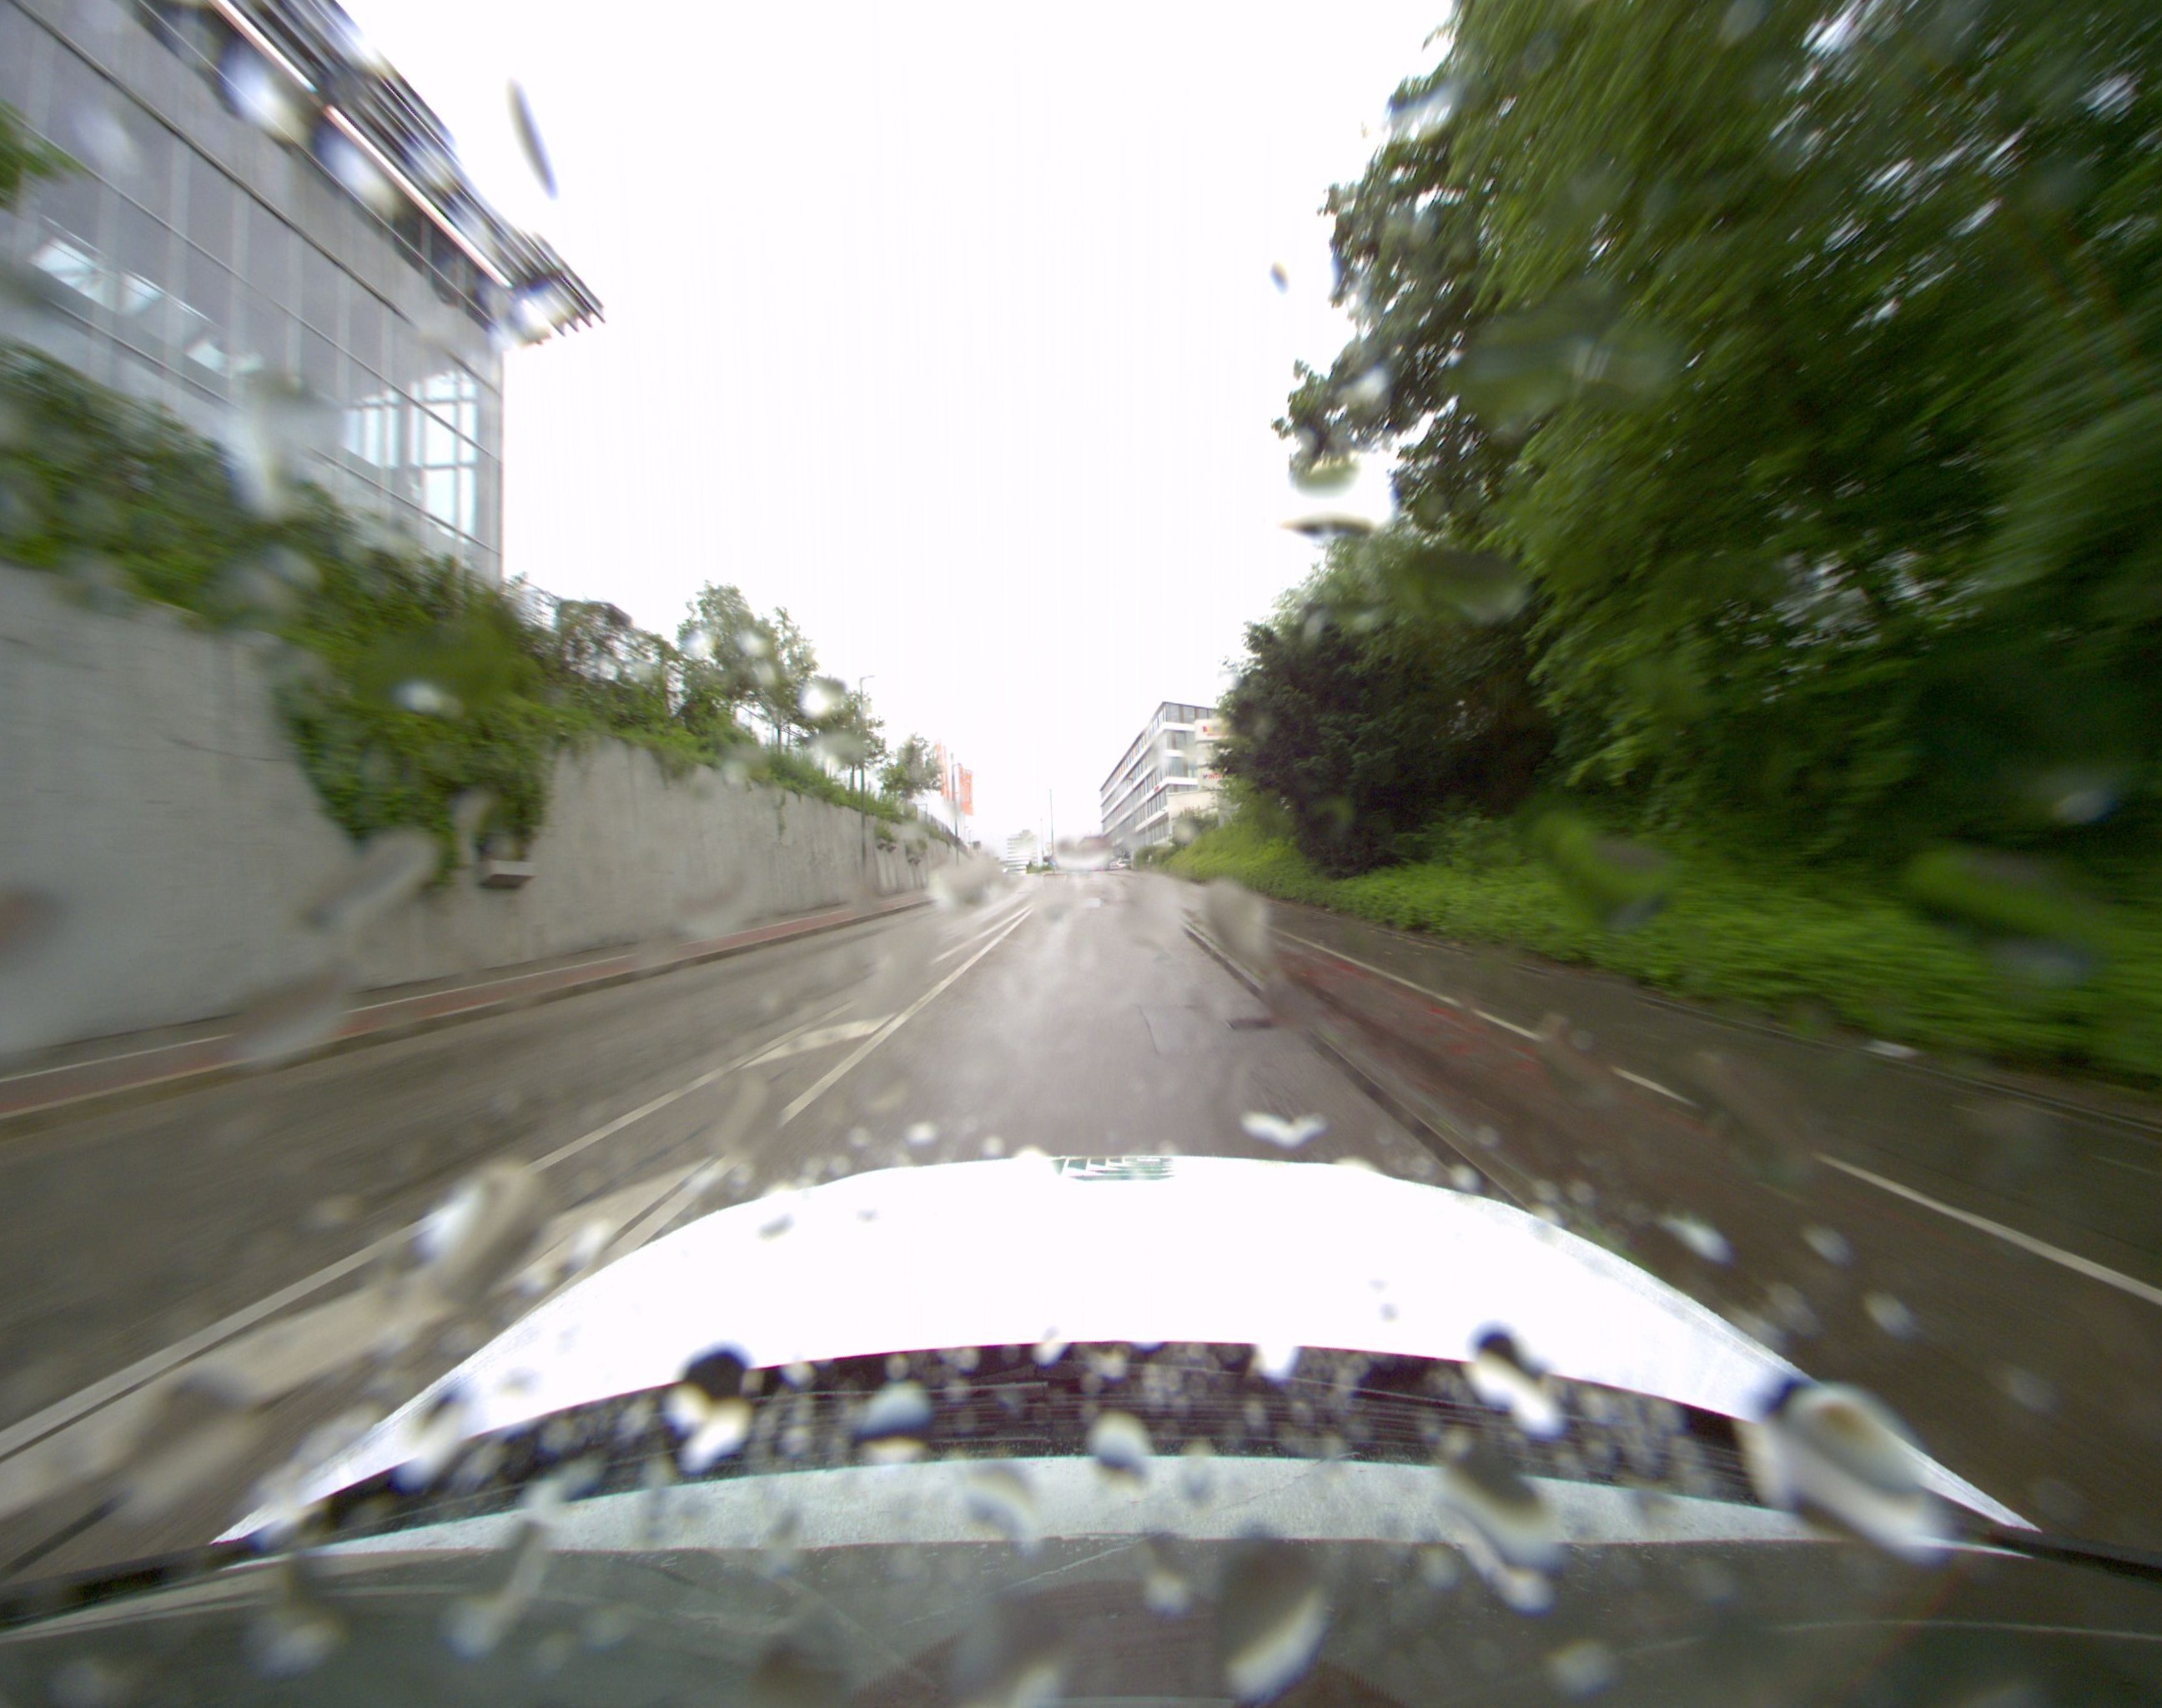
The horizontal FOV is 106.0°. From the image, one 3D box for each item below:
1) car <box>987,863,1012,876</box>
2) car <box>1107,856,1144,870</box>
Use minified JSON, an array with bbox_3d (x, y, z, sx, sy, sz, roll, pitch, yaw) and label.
[{"bbox_3d":[-9.513,1.774,94.249,2.005,1.426,4.755,-3,0,-16],"label":"car"},{"bbox_3d":[5.093,1.015,92.654,4.274,1.362,1.625,-2,0,-43],"label":"car"}]
